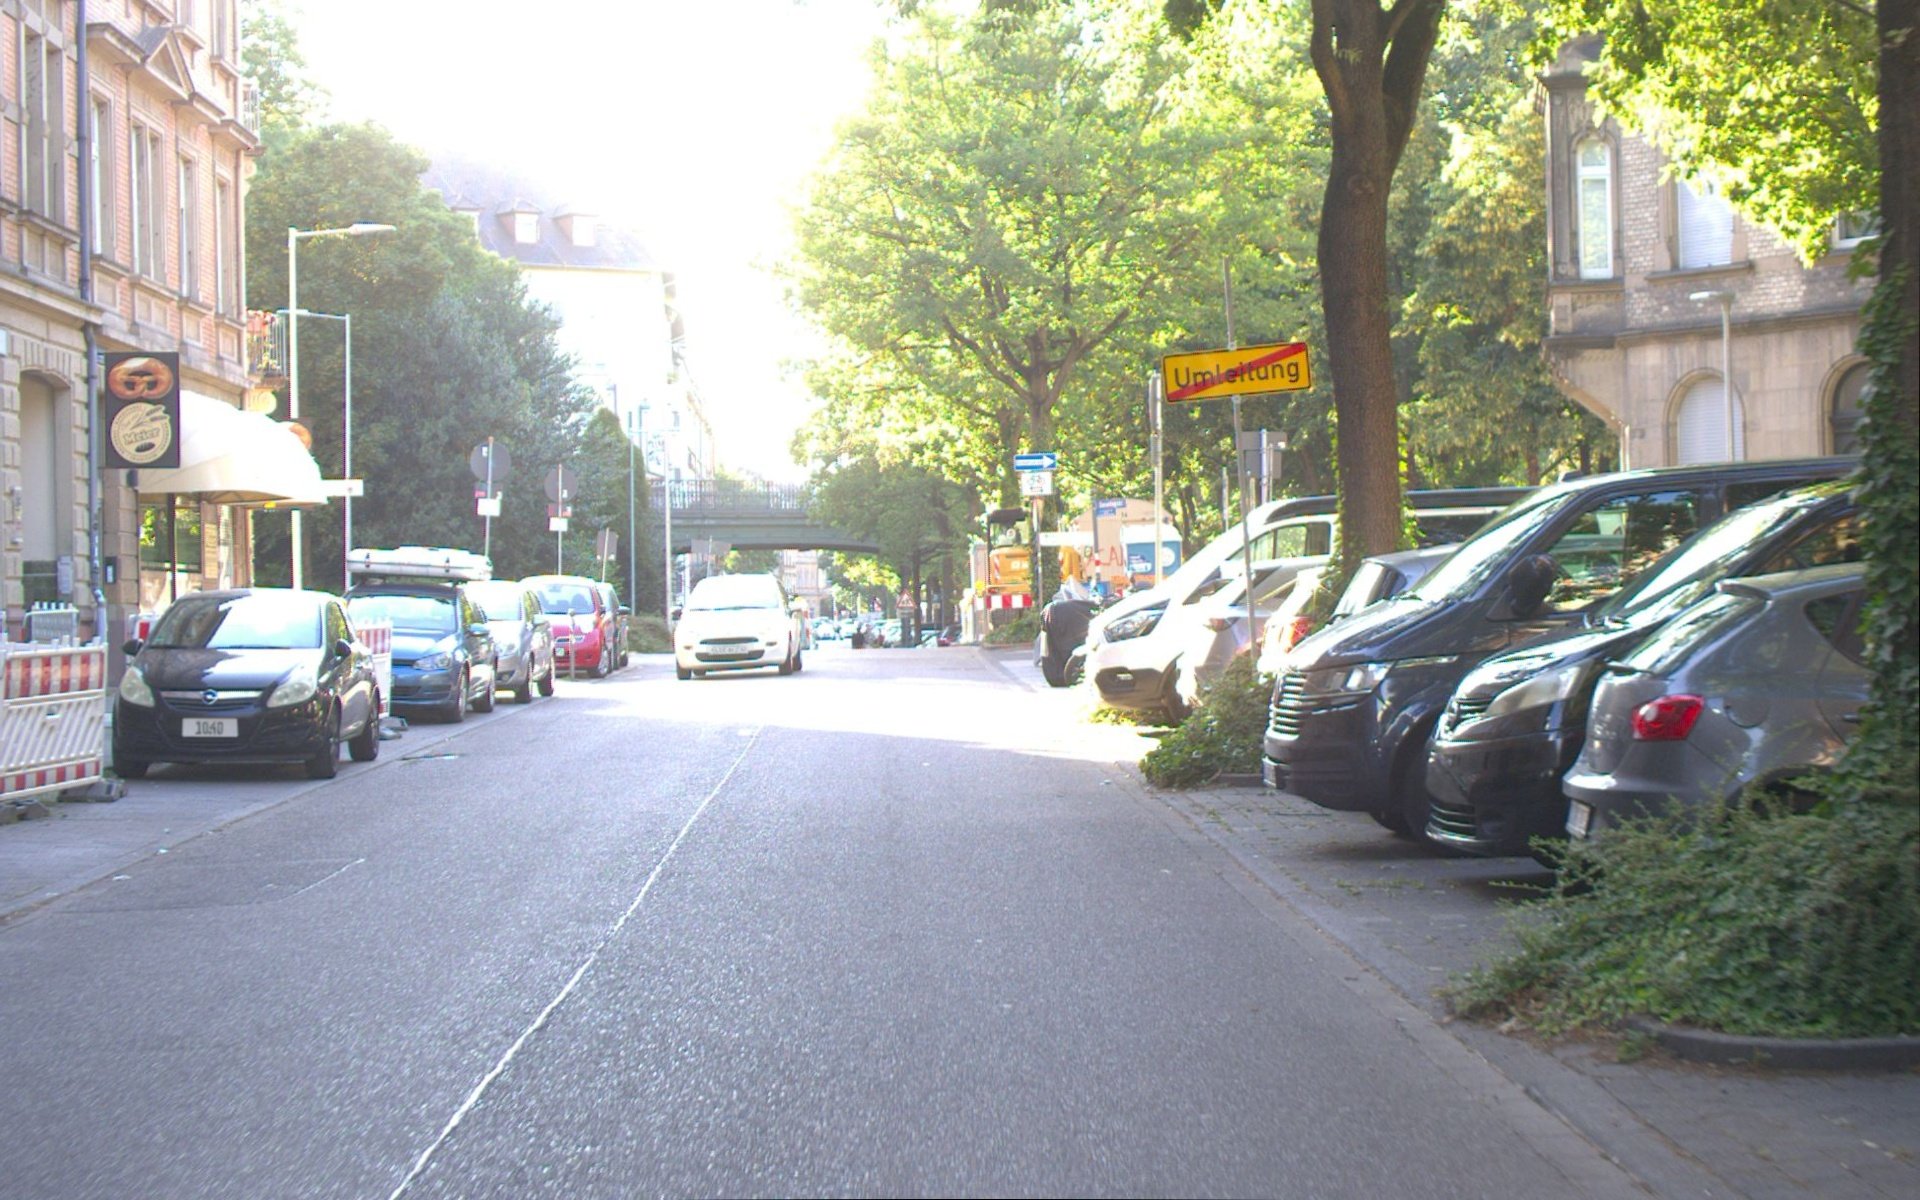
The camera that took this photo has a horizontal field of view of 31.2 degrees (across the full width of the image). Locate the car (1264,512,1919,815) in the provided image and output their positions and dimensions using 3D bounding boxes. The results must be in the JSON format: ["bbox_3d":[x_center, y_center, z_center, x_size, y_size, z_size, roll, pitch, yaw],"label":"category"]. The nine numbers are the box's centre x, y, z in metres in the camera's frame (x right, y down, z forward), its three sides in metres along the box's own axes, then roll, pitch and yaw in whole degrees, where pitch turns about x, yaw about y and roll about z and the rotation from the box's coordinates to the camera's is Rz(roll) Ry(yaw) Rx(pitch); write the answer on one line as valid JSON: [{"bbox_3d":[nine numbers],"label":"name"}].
[{"bbox_3d":[3.978,0.354,20.973,3.986,1.686,1.800,-1,1,-3],"label":"car"}]

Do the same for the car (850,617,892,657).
[{"bbox_3d":[-3.958,1.625,152.373,1.775,1.604,4.402,-2,1,-1],"label":"car"}]

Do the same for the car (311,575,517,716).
[{"bbox_3d":[-5.974,0.457,38.025,1.764,1.432,4.301,-1,1,-3],"label":"car"}]

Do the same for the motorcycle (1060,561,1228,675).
[{"bbox_3d":[2.320,0.226,43.449,2.023,1.357,0.694,-2,0,-1],"label":"motorcycle"}]

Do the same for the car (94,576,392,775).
[{"bbox_3d":[-5.721,0.550,27.854,1.703,1.449,4.020,-1,1,-2],"label":"car"}]

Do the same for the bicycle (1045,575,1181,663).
[{"bbox_3d":[2.191,0.271,49.252,1.924,1.242,0.303,-1,0,-7],"label":"bicycle"}]

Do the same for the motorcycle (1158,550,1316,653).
[{"bbox_3d":[4.229,0.023,52.476,2.282,1.526,0.756,-1,0,-7],"label":"motorcycle"}]

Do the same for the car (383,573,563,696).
[{"bbox_3d":[-6.076,0.399,43.242,1.725,1.432,3.996,1,1,-1],"label":"car"}]

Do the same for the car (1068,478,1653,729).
[{"bbox_3d":[3.526,0.021,31.008,4.973,2.089,2.106,-1,1,-1],"label":"car"}]

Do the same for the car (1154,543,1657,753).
[{"bbox_3d":[3.584,0.373,28.131,3.840,1.590,1.741,-1,1,-1],"label":"car"}]

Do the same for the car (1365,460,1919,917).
[{"bbox_3d":[4.148,0.334,15.556,4.267,1.878,1.940,-1,1,-4],"label":"car"}]

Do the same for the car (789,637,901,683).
[{"bbox_3d":[-4.611,2.404,137.534,4.387,1.779,1.917,1,-3,-4],"label":"car"}]

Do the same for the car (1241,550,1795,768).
[{"bbox_3d":[4.143,0.418,25.963,3.840,1.510,1.848,-1,1,-1],"label":"car"}]

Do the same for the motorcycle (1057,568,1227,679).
[{"bbox_3d":[2.249,0.286,42.519,2.014,1.323,0.621,-1,0,-5],"label":"motorcycle"}]

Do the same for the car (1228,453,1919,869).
[{"bbox_3d":[3.872,0.273,18.253,4.614,2.007,2.000,-1,1,-3],"label":"car"}]

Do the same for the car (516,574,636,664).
[{"bbox_3d":[-6.452,0.295,58.024,1.669,1.453,4.000,-1,0,-2],"label":"car"}]

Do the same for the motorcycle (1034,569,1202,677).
[{"bbox_3d":[2.030,0.293,44.424,2.023,1.280,0.904,-3,1,-3],"label":"motorcycle"}]

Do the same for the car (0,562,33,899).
[{"bbox_3d":[-5.318,0.640,14.562,1.741,1.562,3.895,-1,1,-1],"label":"car"}]

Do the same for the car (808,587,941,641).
[{"bbox_3d":[-2.872,0.464,115.218,4.387,1.696,1.917,1,-3,-4],"label":"car"}]

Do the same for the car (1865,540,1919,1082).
[{"bbox_3d":[4.670,0.534,8.980,4.081,1.492,1.843,-2,1,-1],"label":"car"}]

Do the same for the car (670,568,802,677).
[{"bbox_3d":[-3.272,0.297,50.826,1.749,1.504,4.000,-1,1,-1],"label":"car"}]

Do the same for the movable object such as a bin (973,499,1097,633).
[{"bbox_3d":[1.583,-0.693,71.312,1.994,2.690,3.108,-1,0,12],"label":"movable object such as a bin"}]

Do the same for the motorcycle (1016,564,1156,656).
[{"bbox_3d":[1.947,0.155,53.074,1.935,1.408,0.939,0,0,27],"label":"motorcycle"}]

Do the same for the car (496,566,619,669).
[{"bbox_3d":[-6.233,0.252,53.574,1.669,1.525,4.000,-1,0,-4],"label":"car"}]

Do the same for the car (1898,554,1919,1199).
[{"bbox_3d":[4.188,0.583,6.297,4.369,1.450,1.934,-2,1,-1],"label":"car"}]

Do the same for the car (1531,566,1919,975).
[{"bbox_3d":[4.334,0.587,13.306,3.987,1.443,1.890,-1,1,3],"label":"car"}]
